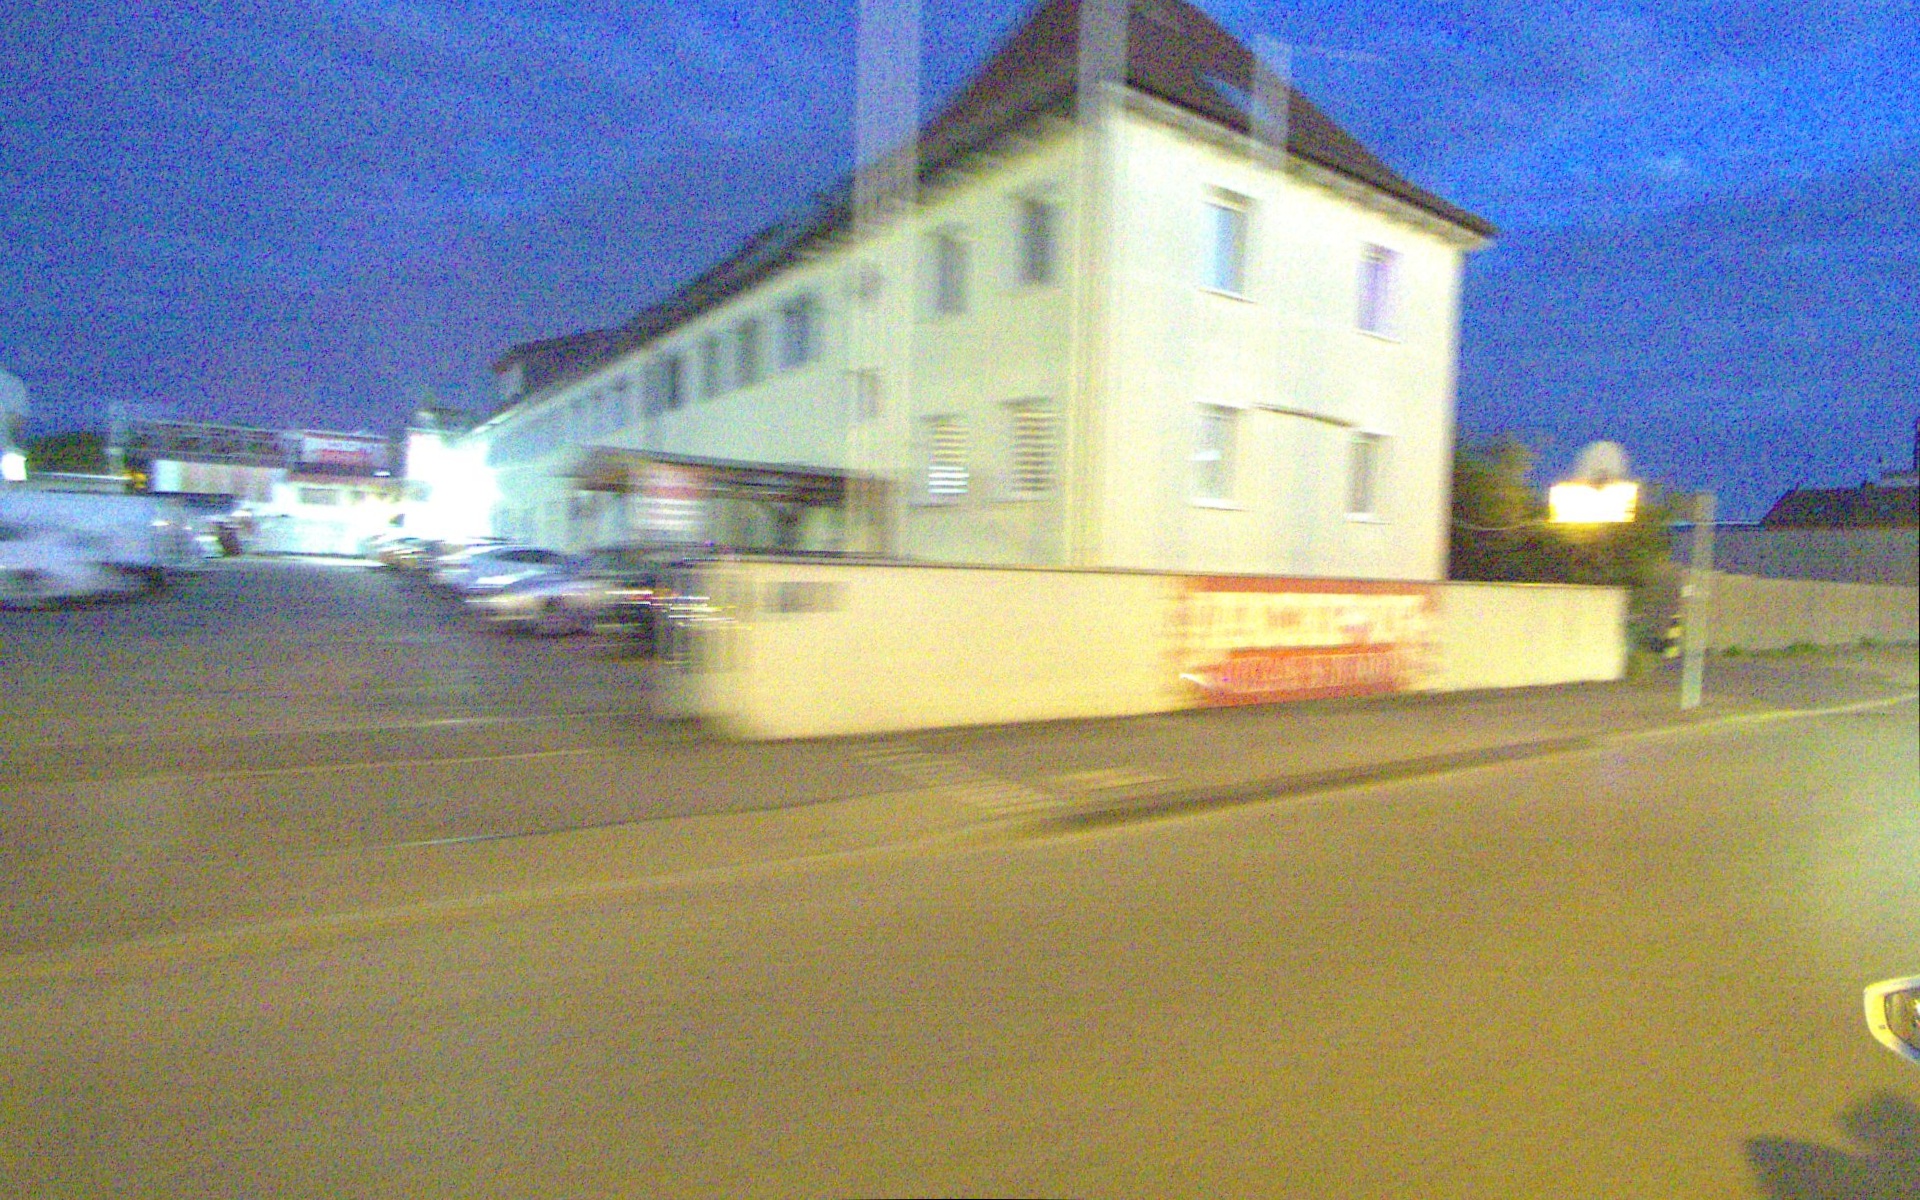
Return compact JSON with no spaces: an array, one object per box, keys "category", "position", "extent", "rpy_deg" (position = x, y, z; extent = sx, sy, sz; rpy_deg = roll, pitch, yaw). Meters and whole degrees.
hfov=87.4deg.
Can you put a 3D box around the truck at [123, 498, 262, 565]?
[{"category":"truck","position":[-32.724,-2.879,43.008],"extent":[4.474,2.574,1.982],"rpy_deg":[2,2,-32]}]

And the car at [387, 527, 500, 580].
[{"category":"car","position":[-22.052,-1.923,42.953],"extent":[3.978,2.040,1.953],"rpy_deg":[1,0,-41]}]

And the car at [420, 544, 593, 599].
[{"category":"car","position":[-13.772,-0.847,30.682],"extent":[4.493,1.514,1.811],"rpy_deg":[0,2,-42]}]

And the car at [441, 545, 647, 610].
[{"category":"car","position":[-10.478,-0.547,25.478],"extent":[4.493,1.514,1.811],"rpy_deg":[0,2,-42]}]

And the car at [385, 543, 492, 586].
[{"category":"car","position":[-23.566,-1.554,45.434],"extent":[3.968,1.740,1.953],"rpy_deg":[2,0,-41]}]

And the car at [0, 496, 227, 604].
[{"category":"car","position":[-18.631,-1.038,20.835],"extent":[5.352,2.031,2.237],"rpy_deg":[2,2,-33]}]

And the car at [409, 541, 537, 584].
[{"category":"car","position":[-18.588,-1.419,38.424],"extent":[4.114,1.473,1.820],"rpy_deg":[1,2,-40]}]

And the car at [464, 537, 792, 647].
[{"category":"car","position":[-5.472,-0.110,16.888],"extent":[4.907,1.602,1.815],"rpy_deg":[1,2,-36]}]

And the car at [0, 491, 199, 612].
[{"category":"car","position":[-16.817,-0.889,18.308],"extent":[4.646,2.041,1.978],"rpy_deg":[1,2,-38]}]

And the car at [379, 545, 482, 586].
[{"category":"car","position":[-24.962,-1.588,47.399],"extent":[3.968,1.740,1.953],"rpy_deg":[2,0,-41]}]

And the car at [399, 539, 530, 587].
[{"category":"car","position":[-19.961,-1.466,40.555],"extent":[4.390,1.707,1.953],"rpy_deg":[2,0,-41]}]

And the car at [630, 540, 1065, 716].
[{"category":"car","position":[-1.024,0.214,10.845],"extent":[4.497,1.514,1.810],"rpy_deg":[0,2,-44]}]

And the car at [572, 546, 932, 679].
[{"category":"car","position":[-2.682,0.122,13.642],"extent":[4.493,1.514,1.811],"rpy_deg":[0,2,-42]}]

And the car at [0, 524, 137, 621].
[{"category":"car","position":[-15.972,-0.492,15.743],"extent":[4.570,1.484,1.829],"rpy_deg":[2,2,-35]}]

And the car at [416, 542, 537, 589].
[{"category":"car","position":[-16.798,-1.176,34.982],"extent":[3.530,1.514,1.604],"rpy_deg":[1,2,-40]}]

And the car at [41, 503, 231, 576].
[{"category":"car","position":[-27.376,-1.947,33.624],"extent":[4.745,2.079,1.868],"rpy_deg":[2,0,-36]}]

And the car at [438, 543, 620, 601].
[{"category":"car","position":[-12.358,-0.778,28.998],"extent":[1.809,1.514,4.499],"rpy_deg":[4,2,44]}]
